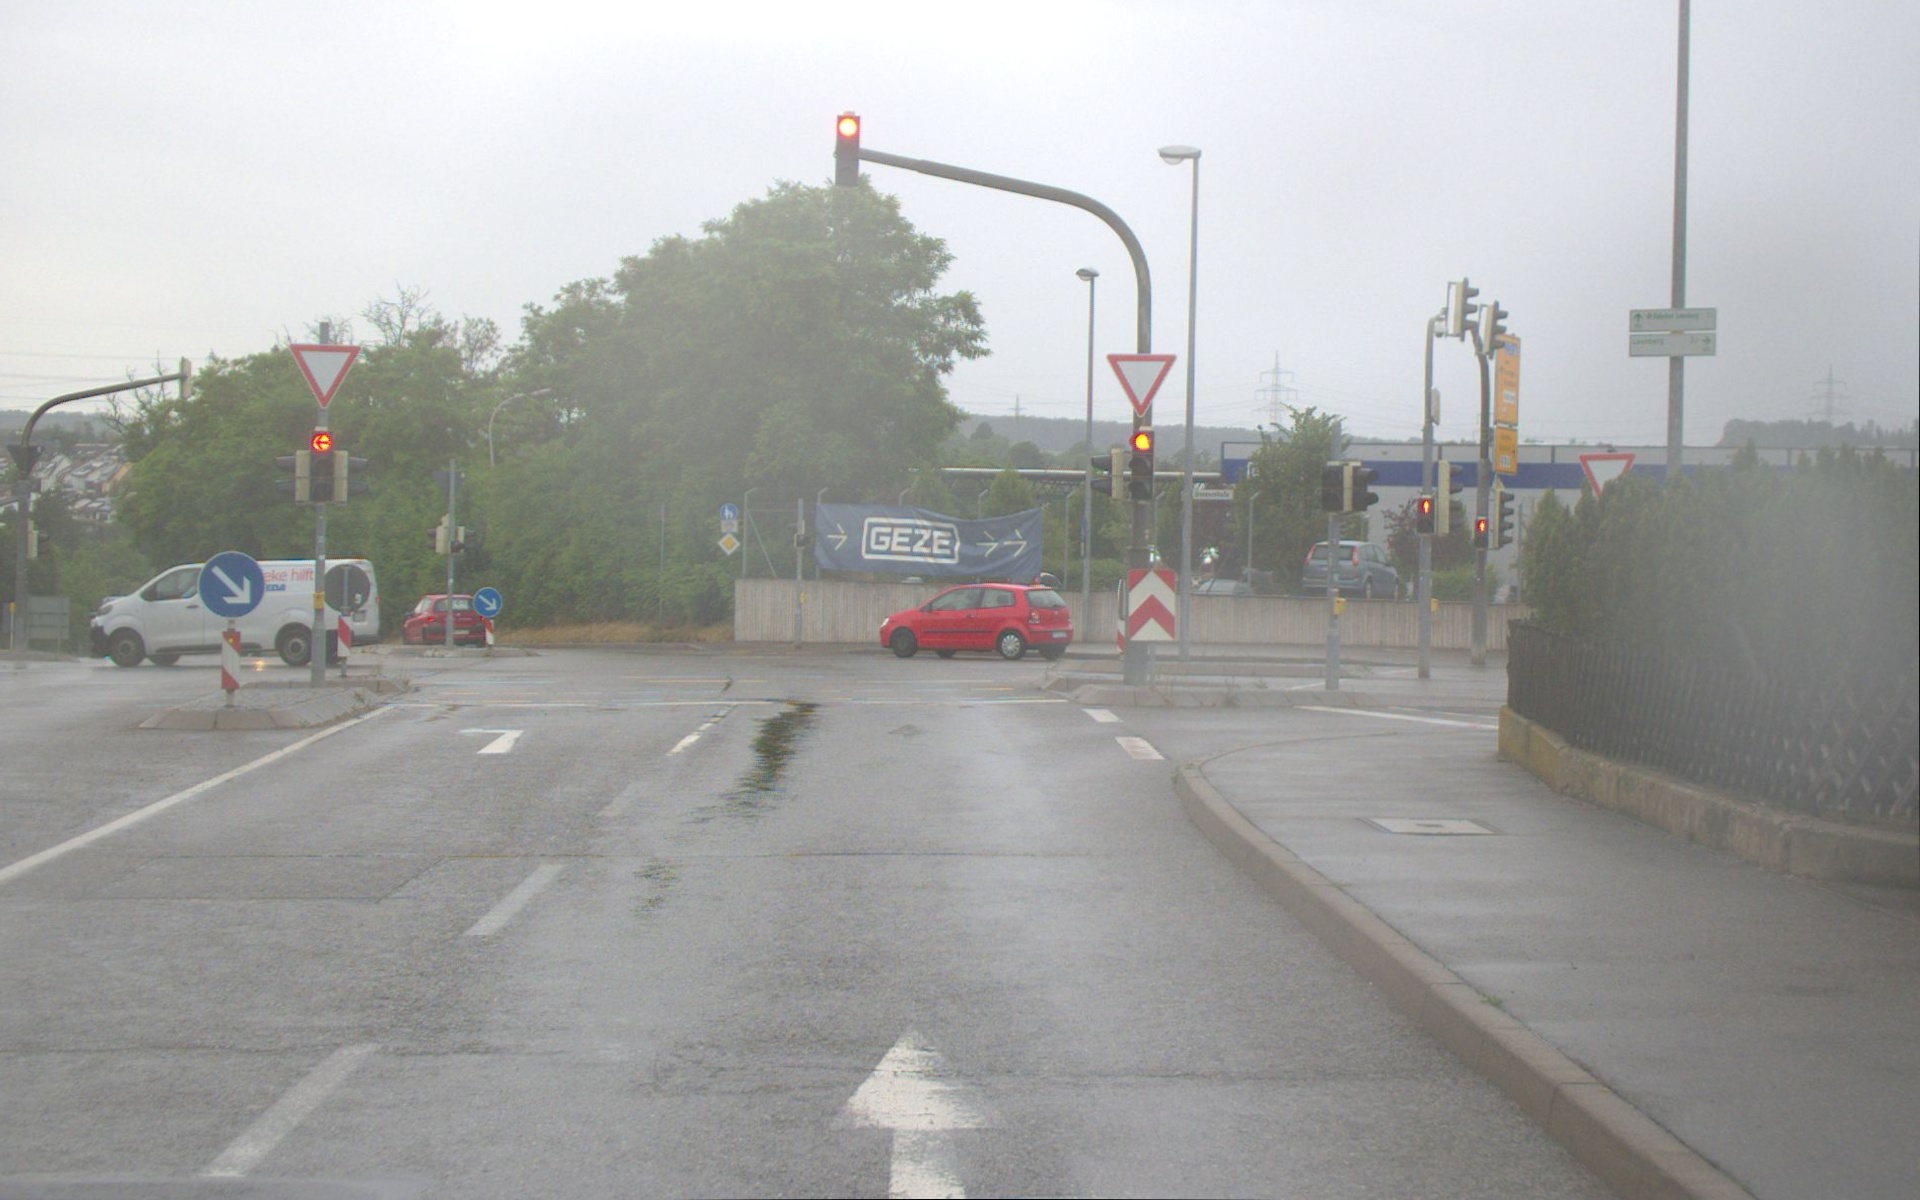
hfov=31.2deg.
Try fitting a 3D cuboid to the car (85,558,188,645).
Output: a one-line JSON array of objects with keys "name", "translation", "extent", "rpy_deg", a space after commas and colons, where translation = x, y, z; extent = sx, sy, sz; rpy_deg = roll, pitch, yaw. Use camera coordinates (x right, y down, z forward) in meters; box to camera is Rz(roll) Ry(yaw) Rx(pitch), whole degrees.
[{"name": "car", "translation": [-19.688, 0.014, 82.075], "extent": [1.993, 1.888, 4.001], "rpy_deg": [2, 1, -18]}]

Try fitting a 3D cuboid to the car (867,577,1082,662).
[{"name": "car", "translation": [0.272, 0.363, 66.426], "extent": [3.801, 1.444, 1.618], "rpy_deg": [3, 1, 29]}]

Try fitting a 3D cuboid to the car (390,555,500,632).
[{"name": "car", "translation": [-13.870, -0.187, 92.417], "extent": [1.993, 1.901, 4.001], "rpy_deg": [2, 1, -22]}]

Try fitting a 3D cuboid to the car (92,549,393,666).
[{"name": "car", "translation": [-13.152, 0.127, 63.133], "extent": [4.998, 2.007, 1.999], "rpy_deg": [1, 0, 10]}]

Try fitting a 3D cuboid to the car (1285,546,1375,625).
[{"name": "car", "translation": [9.867, -0.380, 91.464], "extent": [1.994, 2.007, 3.998], "rpy_deg": [1, 0, 11]}]
